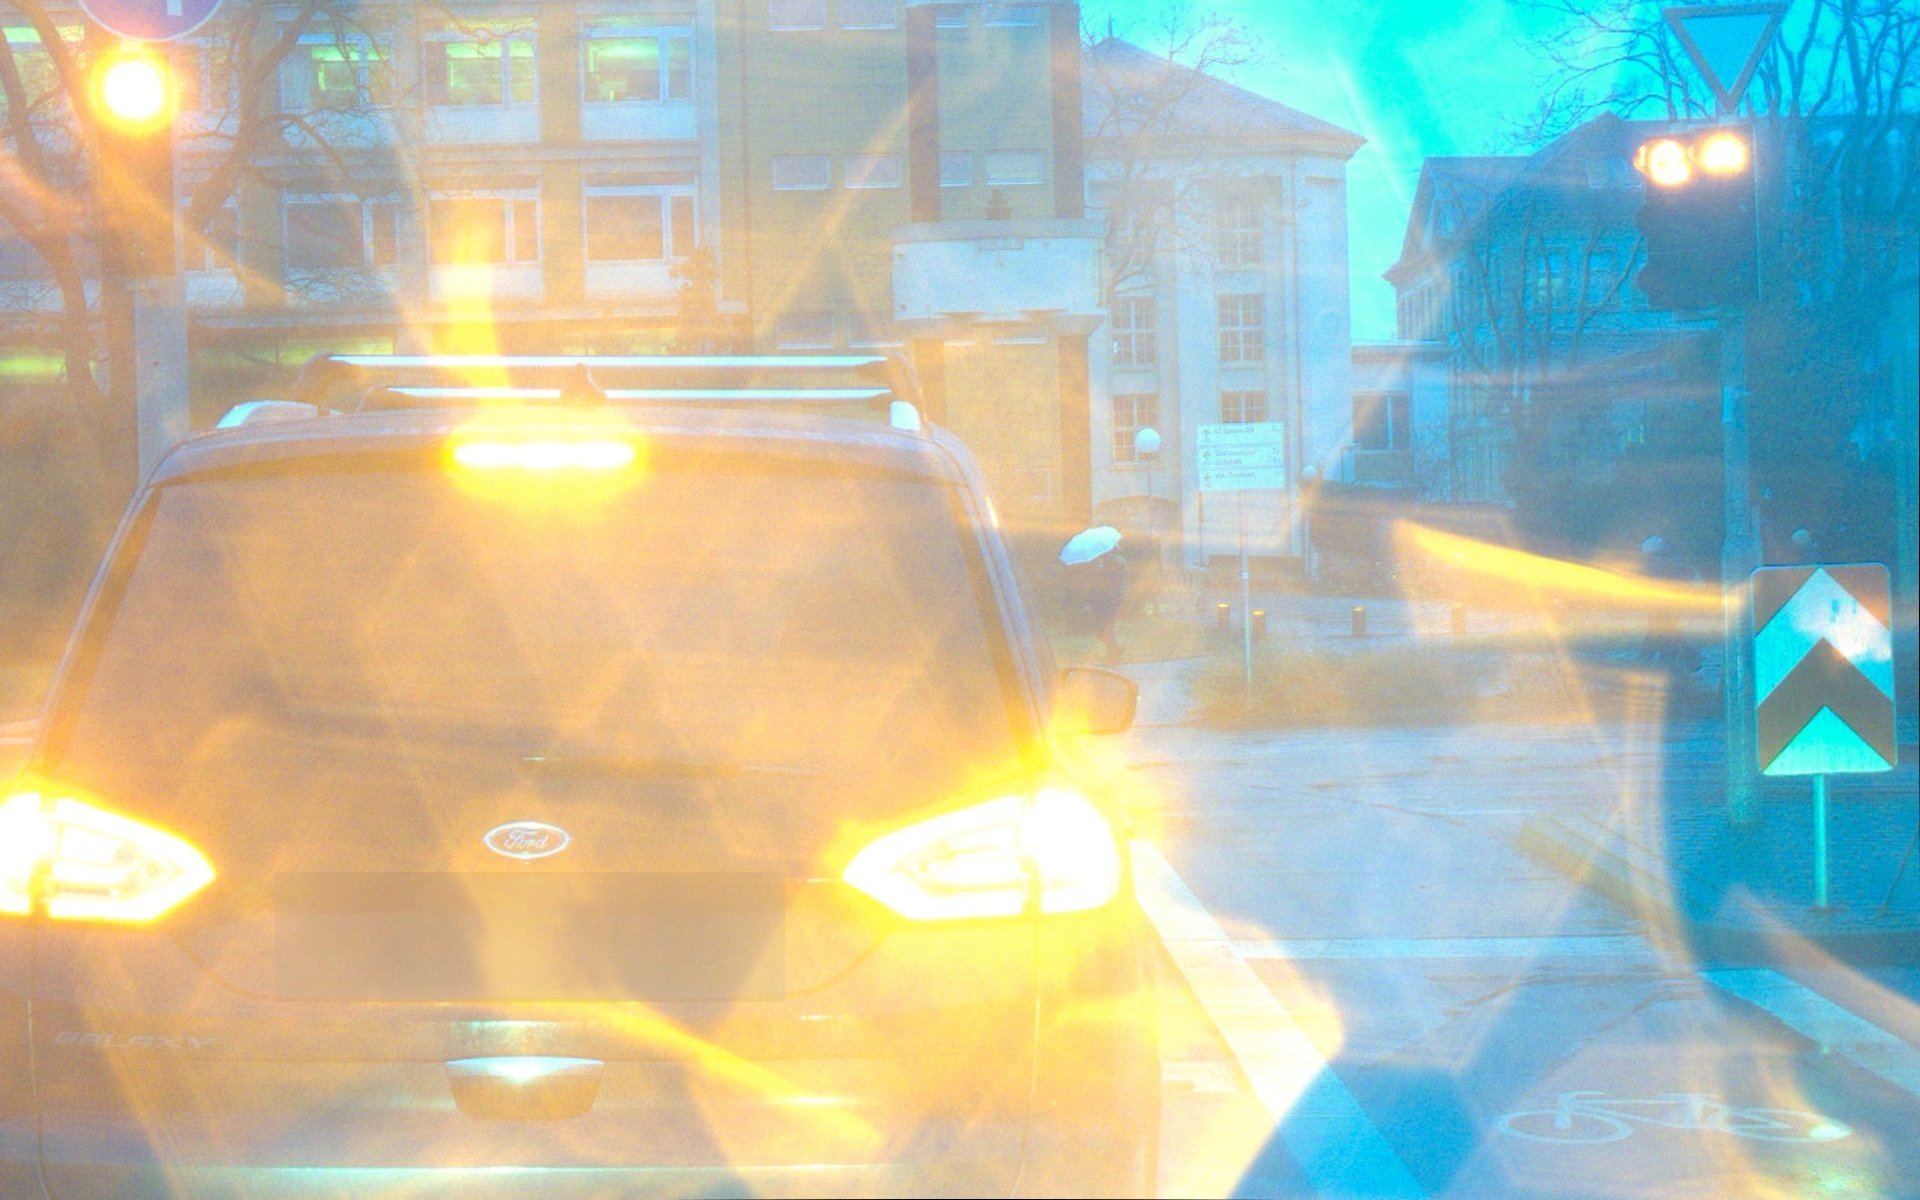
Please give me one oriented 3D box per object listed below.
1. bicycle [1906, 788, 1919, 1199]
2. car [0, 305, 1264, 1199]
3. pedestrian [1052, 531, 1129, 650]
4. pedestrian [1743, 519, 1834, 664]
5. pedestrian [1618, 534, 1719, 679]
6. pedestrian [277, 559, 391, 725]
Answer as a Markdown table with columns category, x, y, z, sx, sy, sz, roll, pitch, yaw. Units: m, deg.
| category | x | y | z | sx | sy | sz | roll | pitch | yaw |
| --- | --- | --- | --- | --- | --- | --- | --- | --- | --- |
| bicycle | 2.090 | 0.884 | 5.145 | 0.783 | 1.071 | 1.957 | 1 | 1 | -1 |
| car | -0.627 | 0.489 | 6.572 | 1.993 | 1.783 | 4.000 | 1 | 1 | -1 |
| pedestrian | 1.826 | -0.133 | 48.093 | 0.759 | 1.622 | 0.721 | -3 | 1 | -31 |
| pedestrian | 10.512 | -0.112 | 43.666 | 0.997 | 1.793 | 0.919 | -2 | 1 | 9 |
| pedestrian | 8.700 | 0.074 | 42.265 | 1.136 | 1.714 | 0.981 | -2 | 1 | 10 |
| pedestrian | -7.719 | 0.510 | 42.377 | 0.957 | 1.971 | 0.930 | -3 | 2 | -43 |
